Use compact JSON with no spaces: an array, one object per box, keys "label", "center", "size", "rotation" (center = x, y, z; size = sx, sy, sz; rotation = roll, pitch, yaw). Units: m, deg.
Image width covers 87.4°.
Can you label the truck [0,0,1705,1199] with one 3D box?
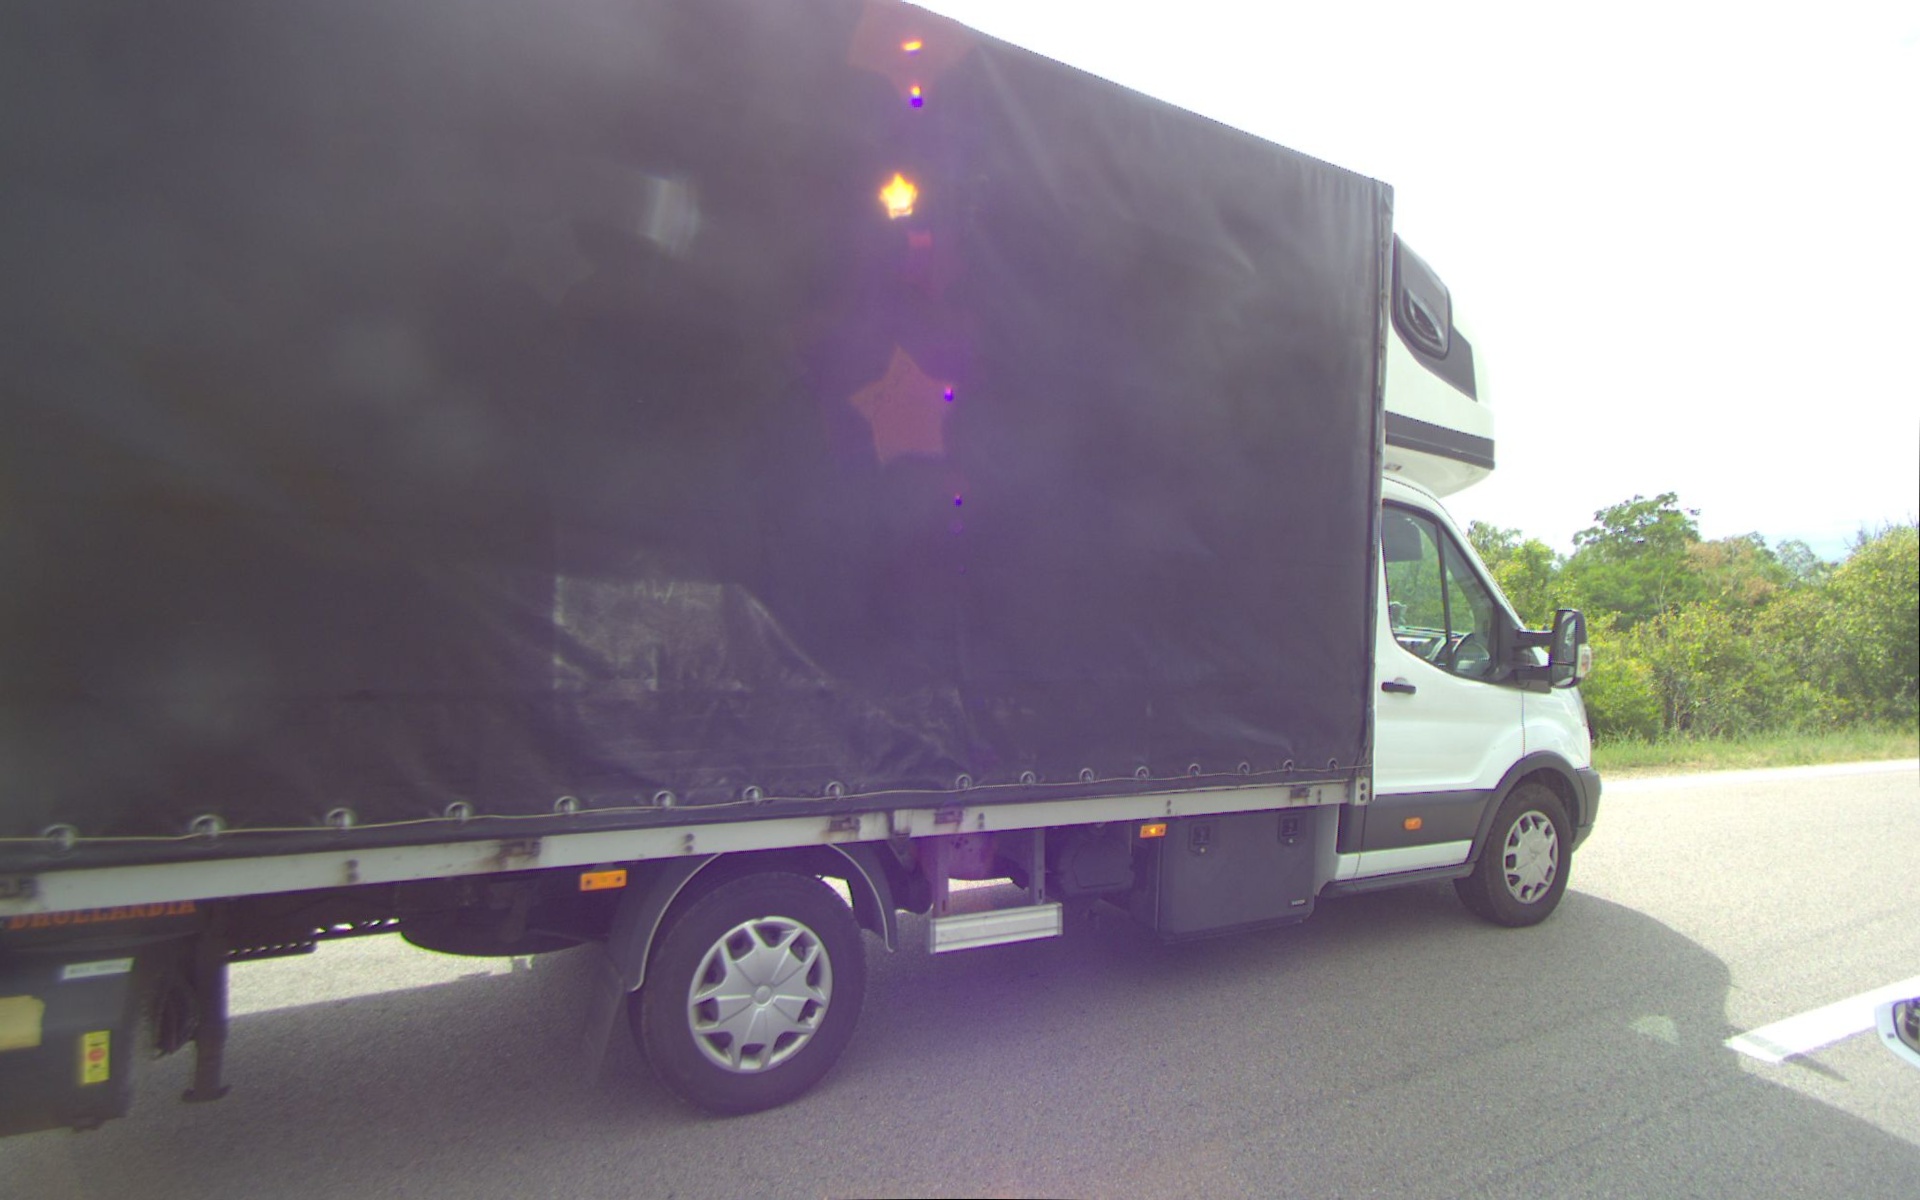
[{"label":"truck","center":[-0.210,-0.163,4.149],"size":[7.381,3.210,2.548],"rotation":[2,0,-30]}]
